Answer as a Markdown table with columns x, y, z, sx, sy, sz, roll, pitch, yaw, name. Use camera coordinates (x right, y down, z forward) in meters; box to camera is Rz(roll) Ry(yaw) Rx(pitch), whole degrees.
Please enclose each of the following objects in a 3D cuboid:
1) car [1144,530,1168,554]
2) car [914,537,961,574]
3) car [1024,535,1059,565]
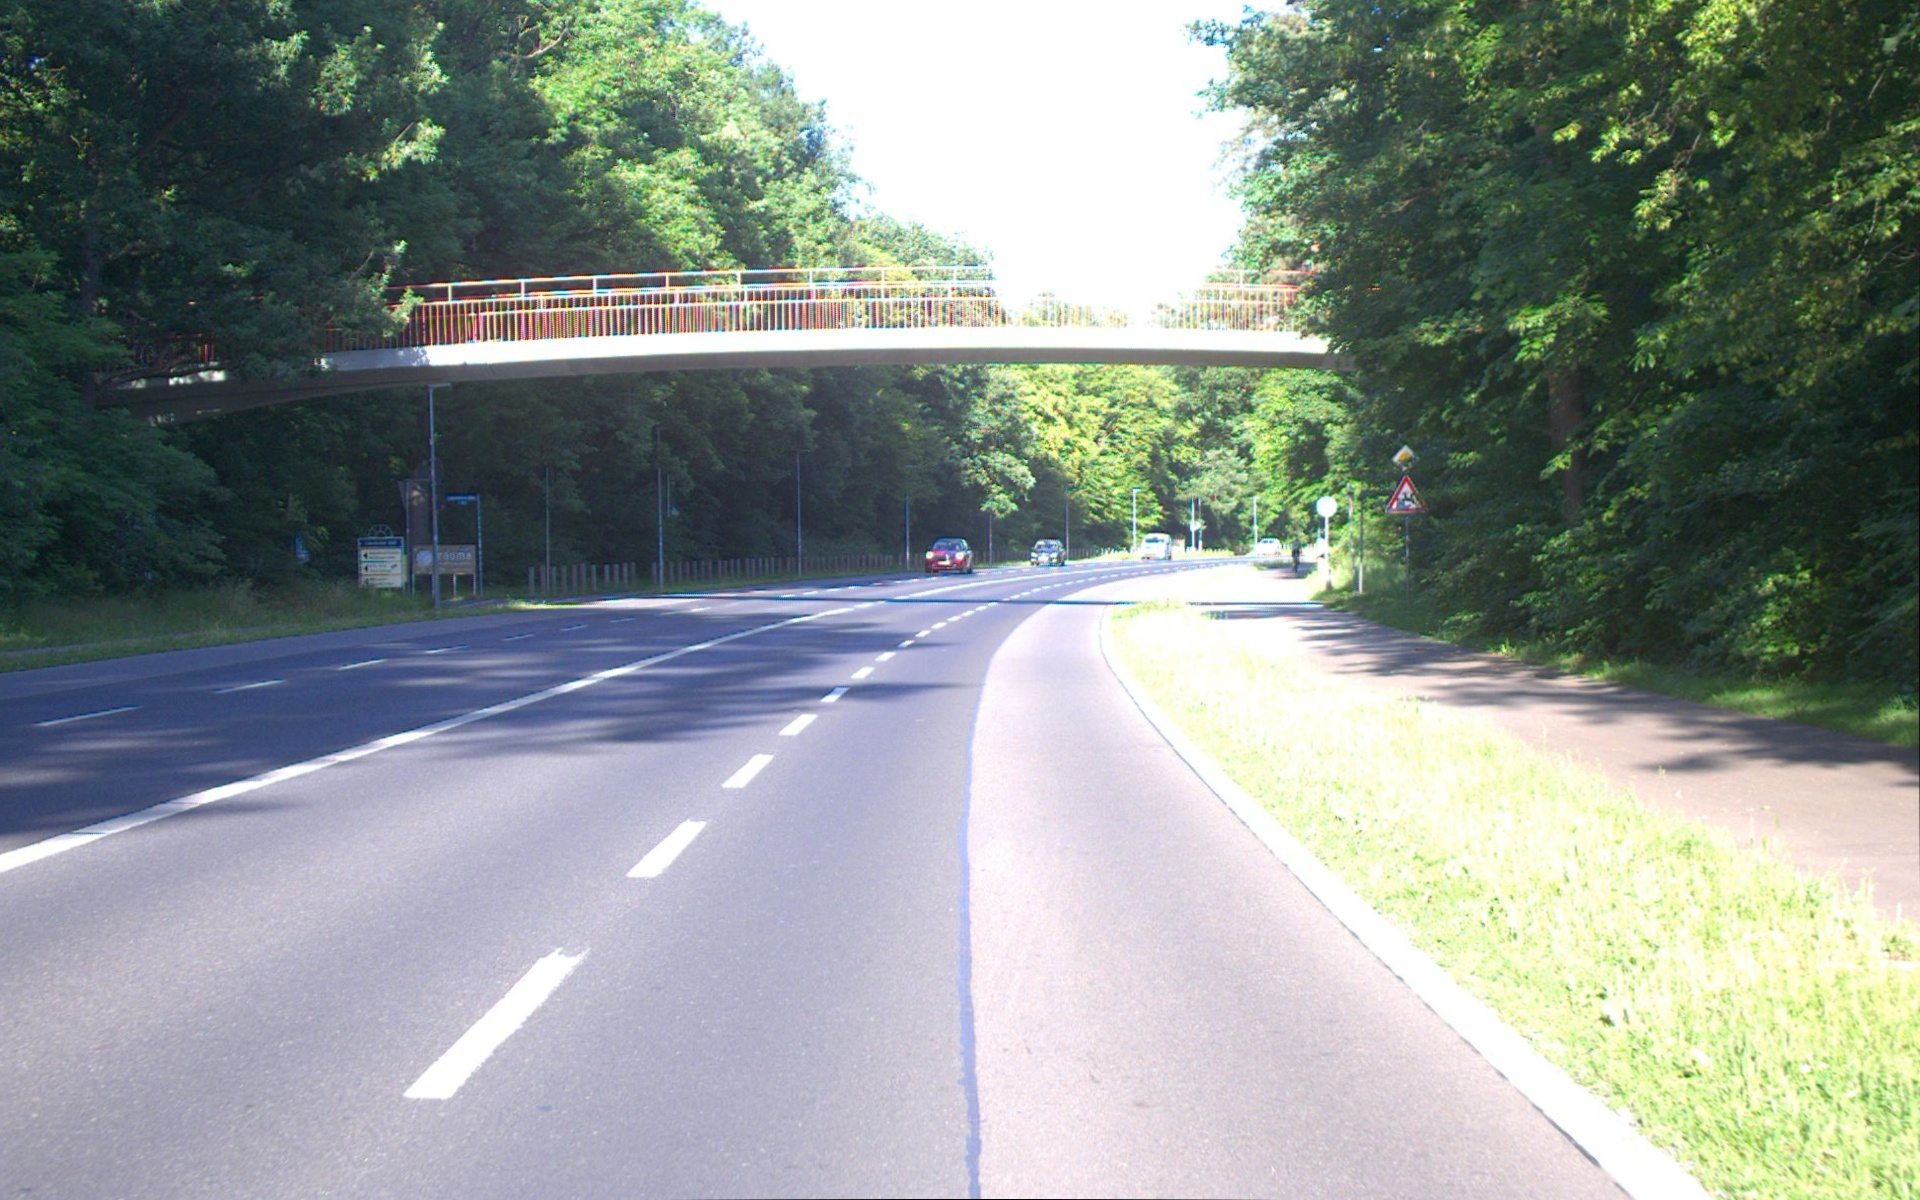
| x | y | z | sx | sy | sz | roll | pitch | yaw | name |
| --- | --- | --- | --- | --- | --- | --- | --- | --- | --- |
| 13.960 | -4.155 | 245.182 | 1.705 | 1.703 | 4.000 | 0 | 1 | 3 | car |
| -0.998 | -2.013 | 154.762 | 1.762 | 1.577 | 4.168 | 1 | 1 | 4 | car |
| 4.615 | -2.814 | 193.605 | 1.723 | 1.568 | 4.177 | 2 | 1 | 4 | car |
